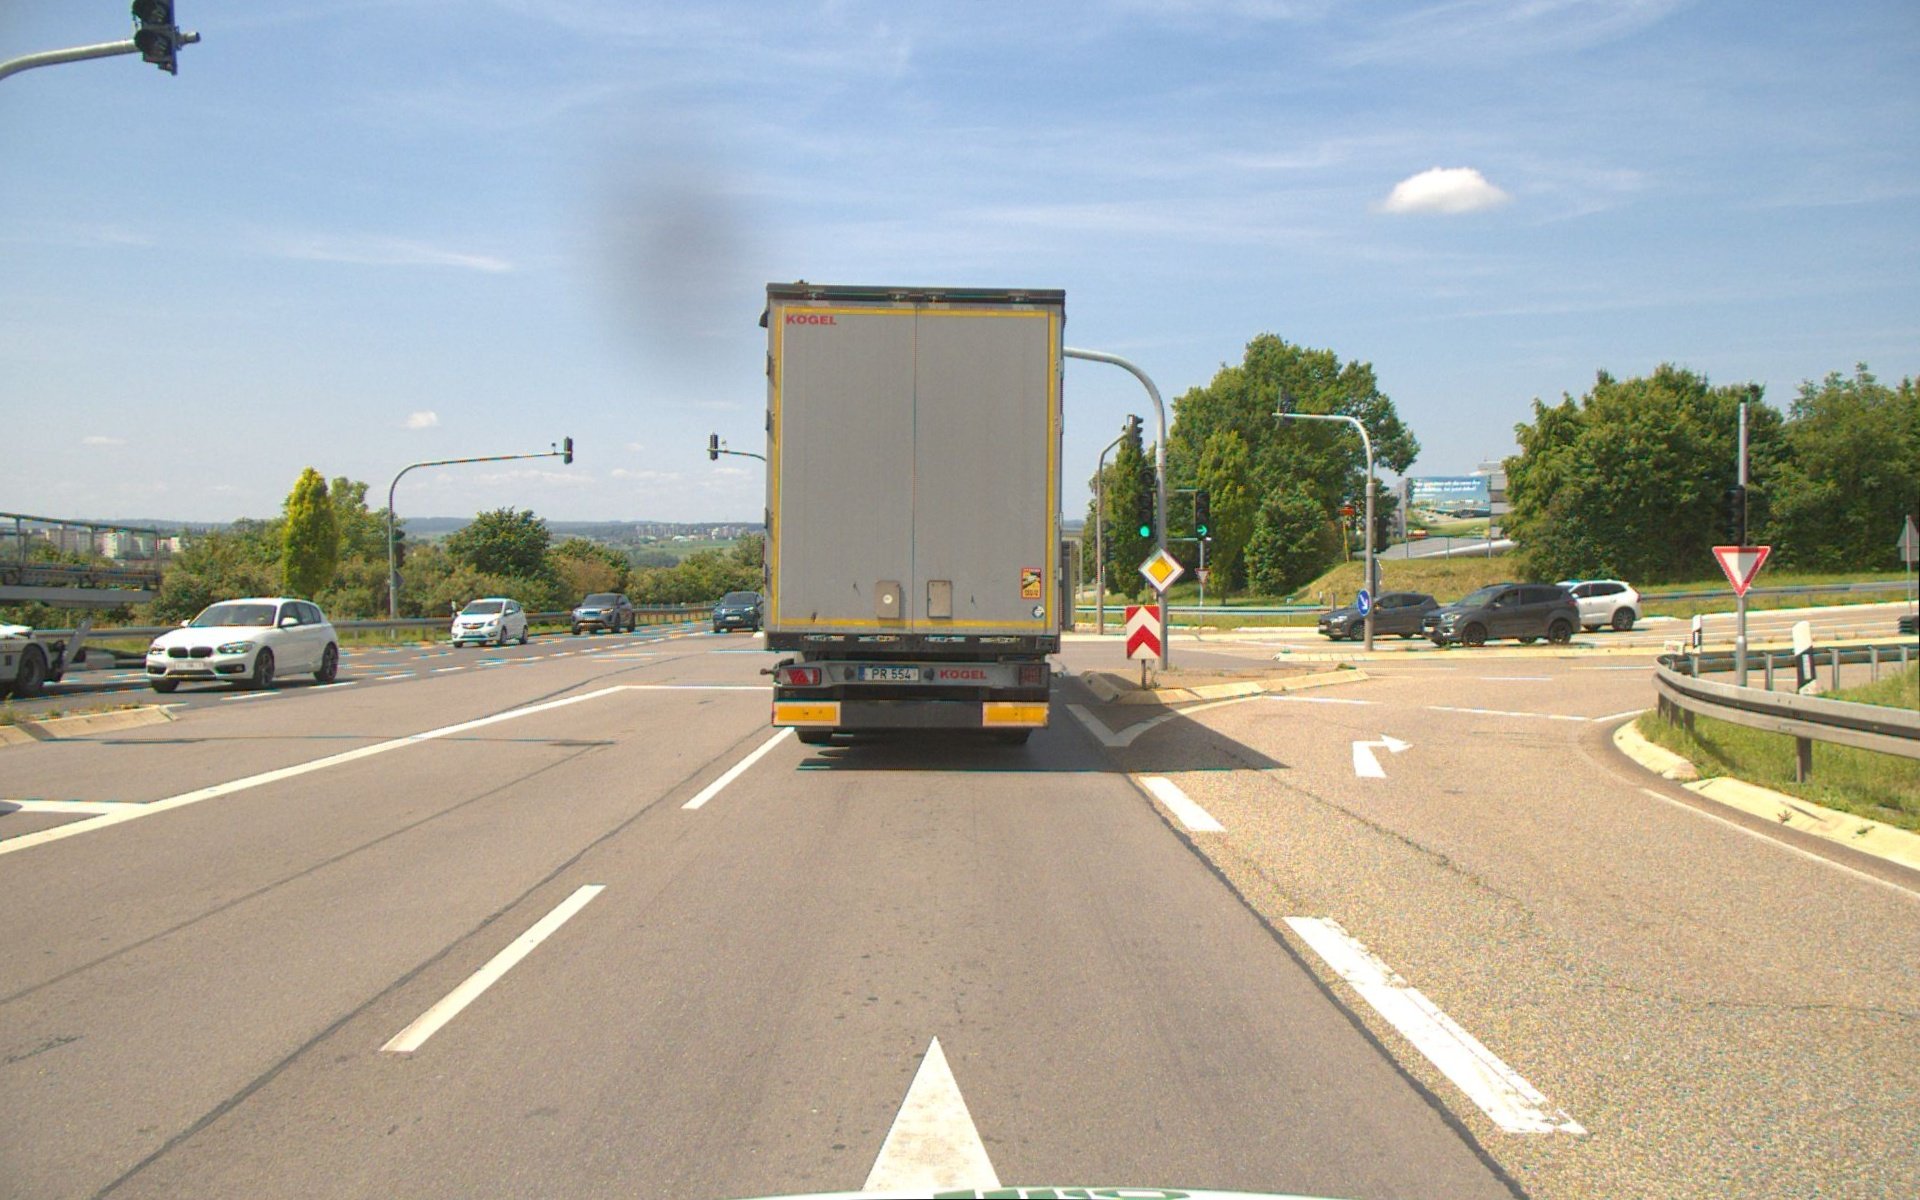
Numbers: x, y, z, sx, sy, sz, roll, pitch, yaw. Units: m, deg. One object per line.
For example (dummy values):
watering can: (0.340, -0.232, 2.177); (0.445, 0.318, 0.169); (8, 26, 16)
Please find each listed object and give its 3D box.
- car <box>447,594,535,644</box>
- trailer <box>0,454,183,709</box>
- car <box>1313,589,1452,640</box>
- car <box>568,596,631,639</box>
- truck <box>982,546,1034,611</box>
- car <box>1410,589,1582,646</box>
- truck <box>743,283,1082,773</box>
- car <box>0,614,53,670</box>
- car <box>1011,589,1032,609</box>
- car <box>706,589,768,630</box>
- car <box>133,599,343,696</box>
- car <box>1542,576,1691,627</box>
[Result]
car: (-14.994, 0.602, 53.049); (1.610, 1.523, 3.802); (-1, 0, 1)
trailer: (-15.699, -0.302, 20.843); (2.585, 3.829, 19.796); (0, 0, 0)
car: (13.232, 0.443, 51.878); (3.914, 1.537, 1.712); (0, 0, -10)
car: (-14.842, 0.709, 68.350); (1.610, 1.652, 4.327); (-2, 0, 0)
truck: (3.082, -1.229, 103.116); (2.599, 3.830, 10.168); (1, 0, 5)
car: (14.847, 0.464, 45.877); (4.282, 1.537, 1.711); (0, 0, -13)
truck: (-0.653, -0.604, 19.316); (2.743, 3.998, 11.335); (1, 0, -3)
car: (-26.712, 1.098, 43.999); (4.435, 1.485, 1.616); (1, -1, -32)
car: (5.604, -0.103, 149.601); (1.749, 1.717, 4.002); (1, 0, 4)
car: (-8.433, 0.346, 62.902); (1.719, 1.494, 4.196); (0, 0, 1)
car: (-11.824, 0.738, 27.377); (1.736, 1.459, 3.999); (-1, 0, -1)
car: (21.524, 0.043, 54.292); (4.278, 1.620, 1.776); (0, 0, -10)
